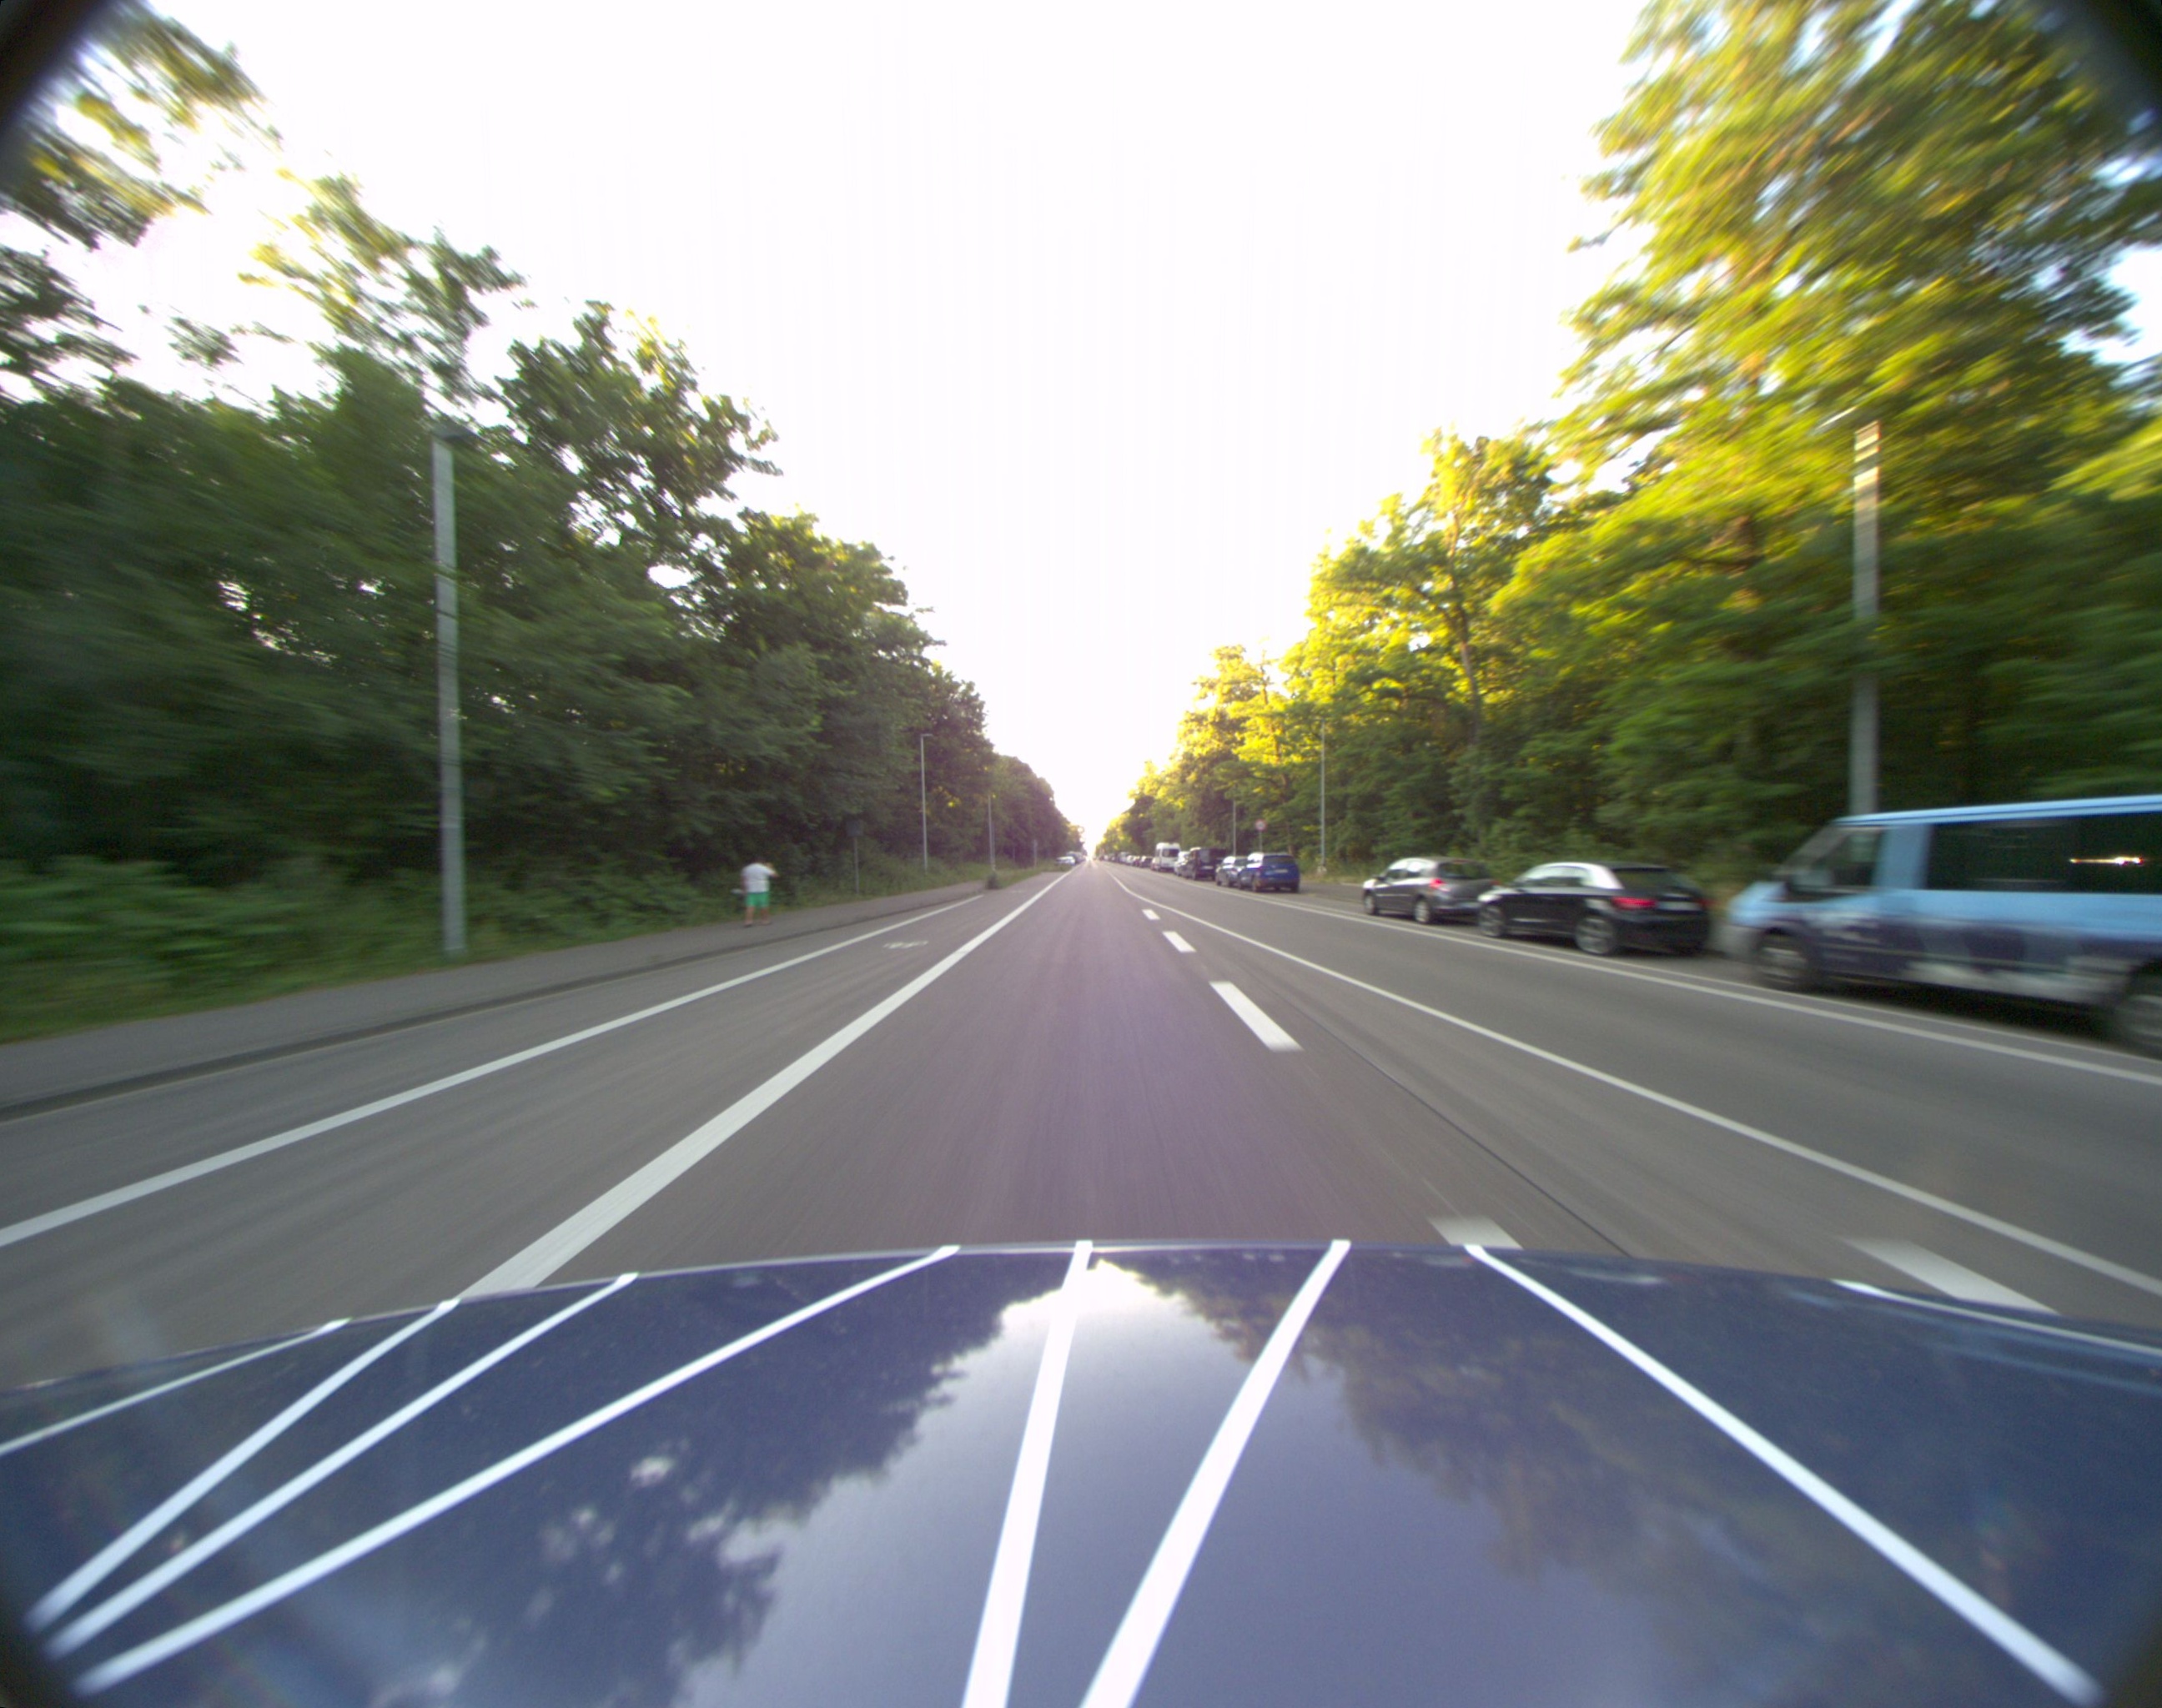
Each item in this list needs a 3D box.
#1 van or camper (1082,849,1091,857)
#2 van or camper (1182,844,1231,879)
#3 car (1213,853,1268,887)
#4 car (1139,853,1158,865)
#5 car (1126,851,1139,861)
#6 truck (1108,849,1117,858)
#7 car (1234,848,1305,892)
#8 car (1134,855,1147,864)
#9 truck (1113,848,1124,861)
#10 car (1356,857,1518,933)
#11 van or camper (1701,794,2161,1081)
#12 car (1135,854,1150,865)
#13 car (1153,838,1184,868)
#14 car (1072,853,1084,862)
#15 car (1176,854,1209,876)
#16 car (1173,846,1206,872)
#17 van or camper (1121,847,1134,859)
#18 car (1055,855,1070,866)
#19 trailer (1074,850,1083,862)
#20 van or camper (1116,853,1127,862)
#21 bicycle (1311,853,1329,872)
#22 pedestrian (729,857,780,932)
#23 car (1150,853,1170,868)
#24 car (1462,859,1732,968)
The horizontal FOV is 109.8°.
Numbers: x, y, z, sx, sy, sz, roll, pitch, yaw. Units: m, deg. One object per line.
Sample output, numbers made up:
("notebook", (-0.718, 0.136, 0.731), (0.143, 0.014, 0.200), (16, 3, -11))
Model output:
("van or camper", (1.865, -0.395, 257.812), (3.015, 2.704, 6.960), (-1, 0, 1))
("van or camper", (7.633, 0.440, 46.704), (2.008, 2.006, 5.460), (1, 0, -1))
("car", (7.617, 0.734, 36.716), (1.673, 1.492, 4.245), (1, 0, -1))
("car", (8.310, 0.594, 94.103), (1.850, 1.454, 4.229), (1, 0, -2))
("car", (8.633, 0.395, 127.735), (1.699, 1.636, 4.572), (1, 0, -1))
("truck", (10.817, -0.081, 259.256), (2.654, 3.038, 5.801), (-2, 0, 1))
("car", (7.751, 0.622, 31.662), (1.749, 1.702, 4.522), (1, 0, -1))
("car", (8.607, 0.787, 110.371), (1.601, 1.386, 4.052), (0, 0, 0))
("truck", (9.334, 0.143, 188.235), (2.226, 3.188, 6.271), (2, 0, -1))
("car", (8.037, 0.847, 17.613), (1.621, 1.525, 4.038), (1, 0, -4))
("van or camper", (8.801, 0.610, 6.906), (2.037, 2.082, 5.012), (1, 0, -3))
("car", (8.375, 0.719, 104.267), (1.716, 1.500, 3.657), (1, 0, 0))
("car", (8.041, -0.065, 70.330), (2.084, 2.591, 7.089), (2, 0, 1))
("car", (-0.526, 0.615, 131.681), (1.848, 1.485, 4.759), (-2, -1, -2))
("car", (7.820, 0.741, 53.508), (1.674, 1.424, 4.447), (1, 0, 1))
("car", (8.287, 0.345, 58.467), (1.692, 1.848, 4.385), (-2, 2, -2))
("van or camper", (9.461, -0.108, 155.438), (2.116, 2.376, 6.381), (2, 0, -1))
("car", (-2.421, 0.842, 100.356), (1.715, 1.436, 4.122), (-2, 0, 1))
("trailer", (-0.560, 0.392, 173.719), (1.866, 2.633, 4.270), (-2, 0, 0))
("van or camper", (9.317, 0.785, 174.870), (2.034, 1.945, 4.692), (2, 0, -2))
("bicycle", (12.757, 0.459, 40.602), (0.454, 0.969, 1.718), (0, 0, 0))
("pedestrian", (-7.818, 0.946, 18.239), (0.840, 1.741, 0.726), (-1, 1, 2))
("car", (7.928, 0.620, 76.225), (1.720, 1.422, 4.388), (0, 0, 2))
("car", (8.277, 0.862, 12.689), (1.547, 1.485, 3.970), (1, 0, -5))
